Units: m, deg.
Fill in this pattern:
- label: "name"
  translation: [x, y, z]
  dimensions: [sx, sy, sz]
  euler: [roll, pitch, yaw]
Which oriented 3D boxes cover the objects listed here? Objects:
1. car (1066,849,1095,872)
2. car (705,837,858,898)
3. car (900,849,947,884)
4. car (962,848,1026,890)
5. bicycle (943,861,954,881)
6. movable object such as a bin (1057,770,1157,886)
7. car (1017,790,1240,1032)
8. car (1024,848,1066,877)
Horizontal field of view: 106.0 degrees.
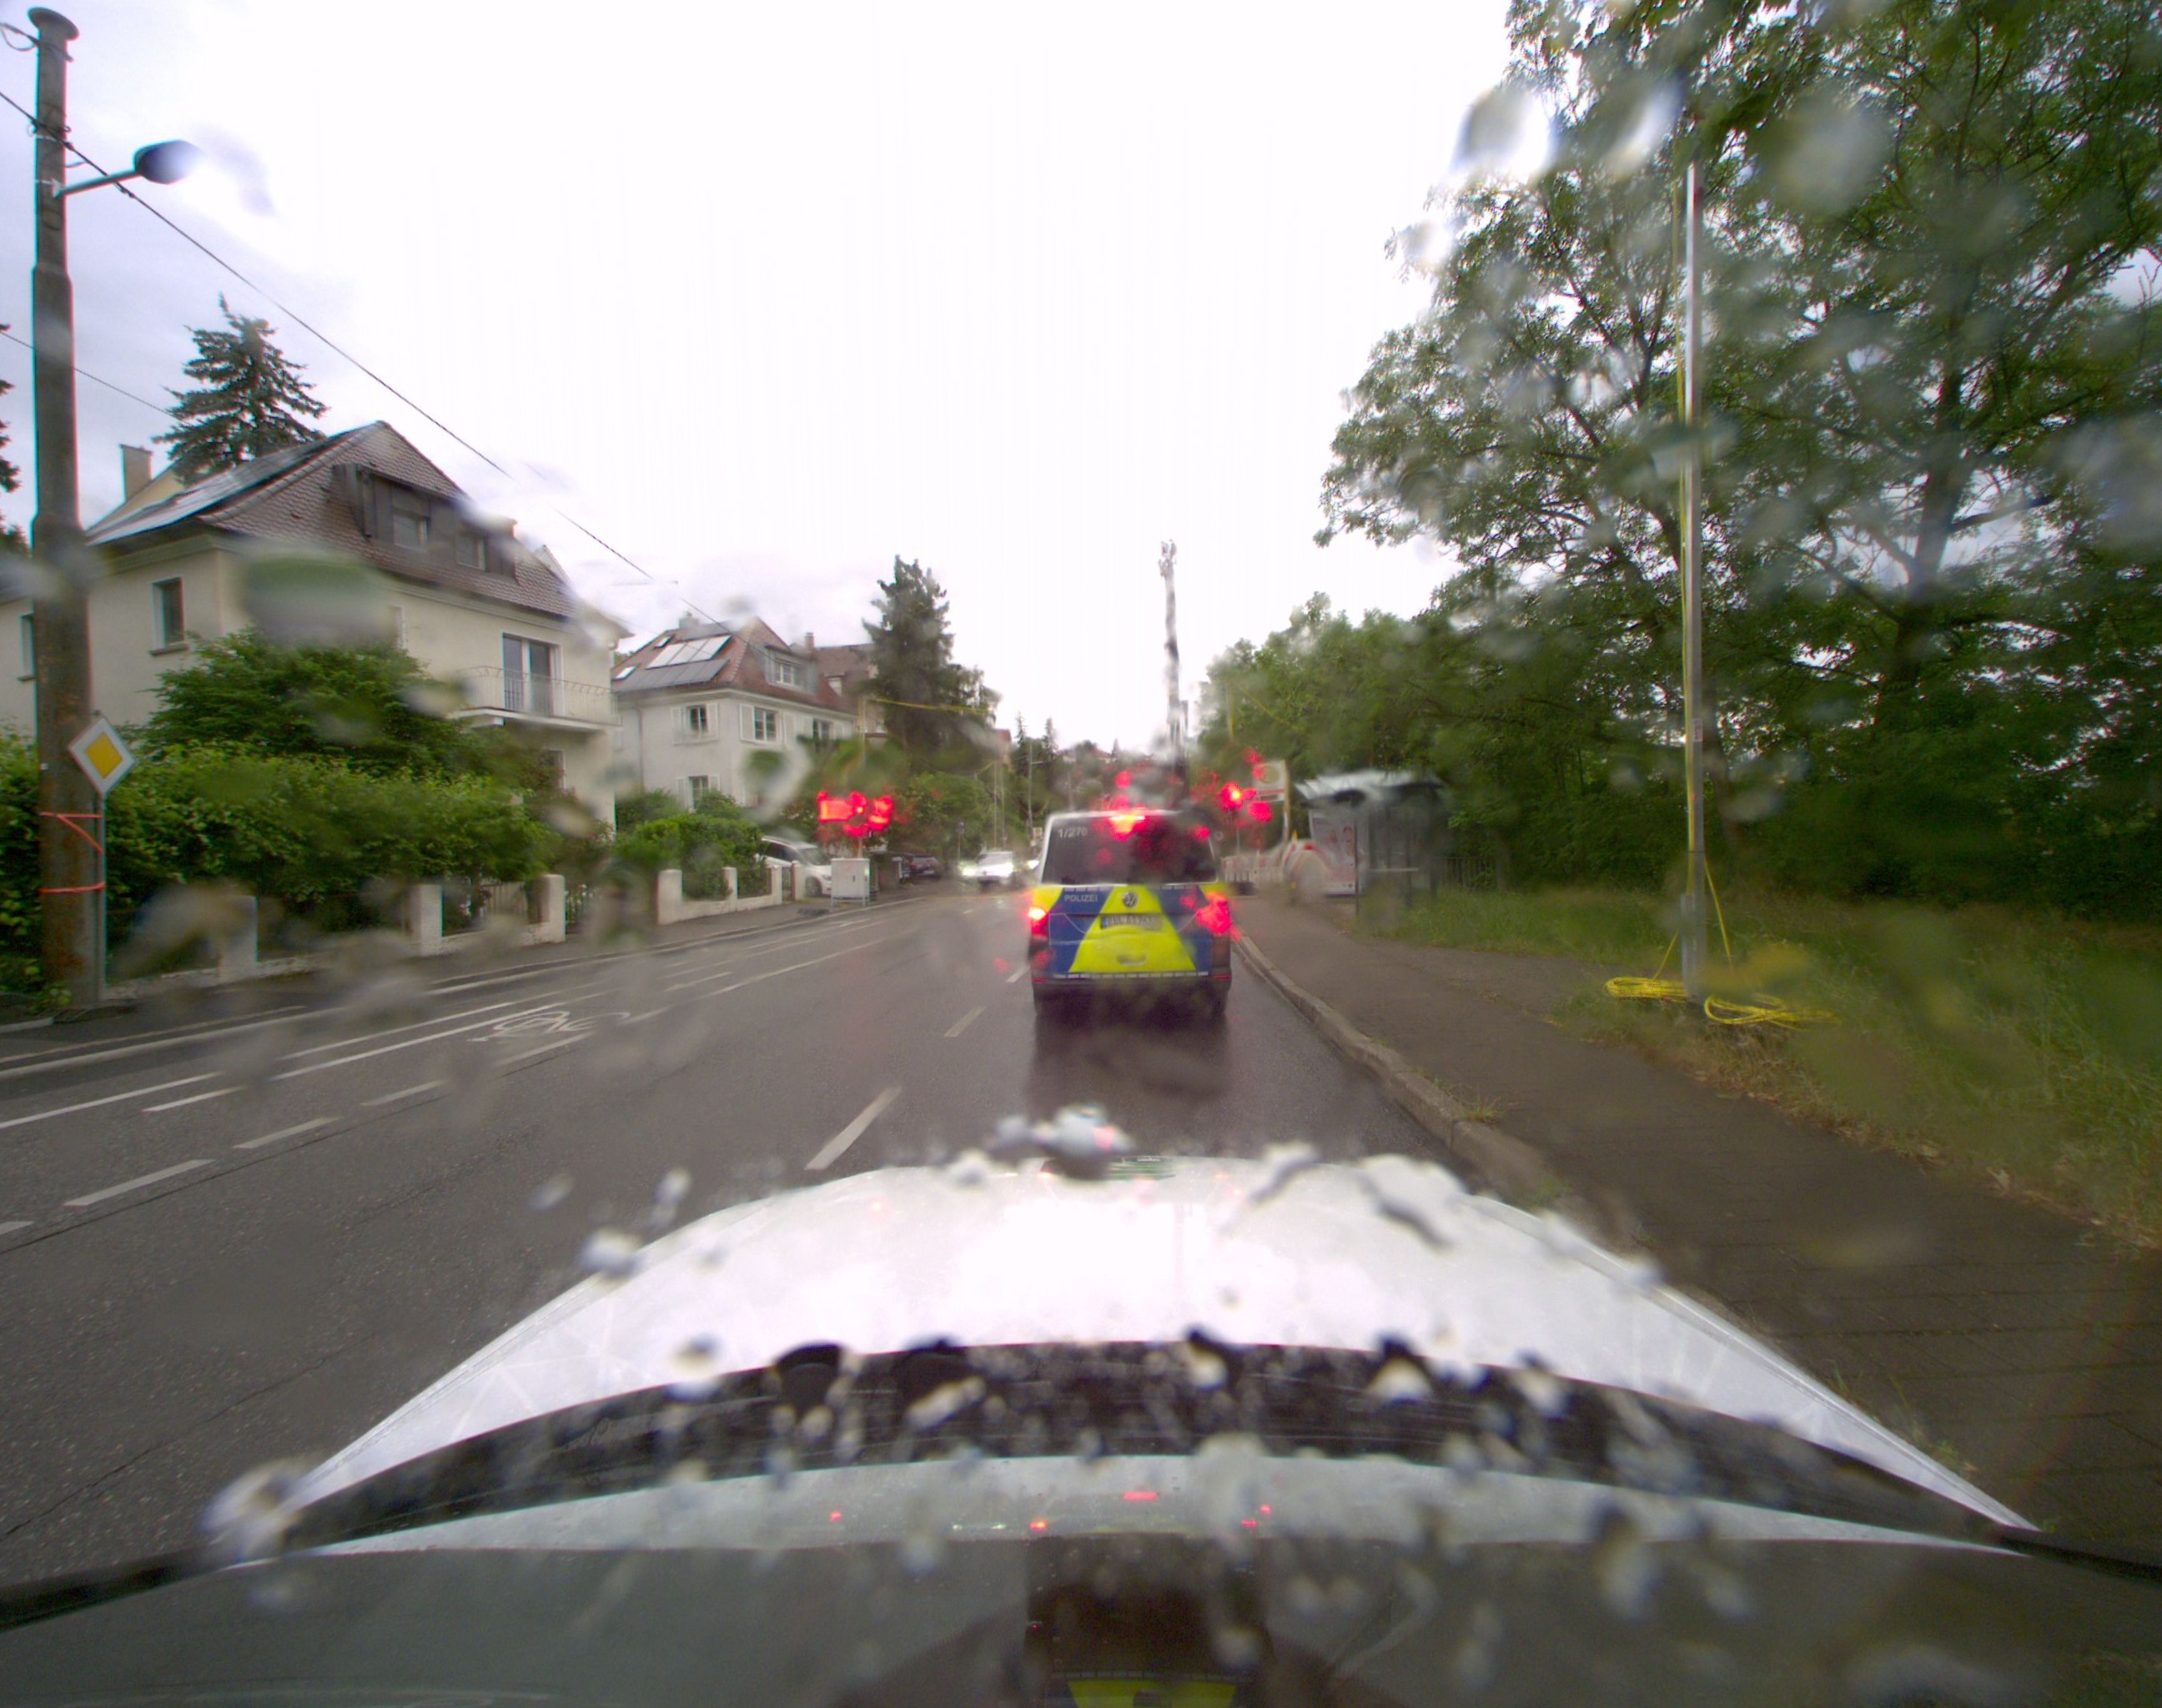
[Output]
- label: "car"
  translation: [0.019, 0.478, 61.297]
  dimensions: [1.986, 1.674, 4.690]
  euler: [0, 0, 2]
- label: "car"
  translation: [-10.275, 0.455, 28.057]
  dimensions: [4.599, 2.007, 1.907]
  euler: [0, 0, 13]
- label: "car"
  translation: [-7.449, 0.551, 38.299]
  dimensions: [1.770, 1.486, 3.720]
  euler: [0, 1, -17]
- label: "car"
  translation: [-3.349, 0.560, 32.334]
  dimensions: [1.846, 1.527, 4.821]
  euler: [0, 0, 2]
- label: "bicycle"
  translation: [-6.495, 0.821, 39.889]
  dimensions: [0.463, 0.897, 1.627]
  euler: [-1, 0, -12]
- label: "movable object such as a bin"
  translation: [1.111, -0.936, 31.772]
  dimensions: [2.809, 4.177, 4.400]
  euler: [0, 0, 17]
- label: "car"
  translation: [0.466, 0.478, 8.941]
  dimensions: [1.886, 2.050, 4.002]
  euler: [0, 0, 2]
- label: "car"
  translation: [-2.045, 0.471, 47.443]
  dimensions: [1.857, 1.621, 4.171]
  euler: [-1, 0, 5]
